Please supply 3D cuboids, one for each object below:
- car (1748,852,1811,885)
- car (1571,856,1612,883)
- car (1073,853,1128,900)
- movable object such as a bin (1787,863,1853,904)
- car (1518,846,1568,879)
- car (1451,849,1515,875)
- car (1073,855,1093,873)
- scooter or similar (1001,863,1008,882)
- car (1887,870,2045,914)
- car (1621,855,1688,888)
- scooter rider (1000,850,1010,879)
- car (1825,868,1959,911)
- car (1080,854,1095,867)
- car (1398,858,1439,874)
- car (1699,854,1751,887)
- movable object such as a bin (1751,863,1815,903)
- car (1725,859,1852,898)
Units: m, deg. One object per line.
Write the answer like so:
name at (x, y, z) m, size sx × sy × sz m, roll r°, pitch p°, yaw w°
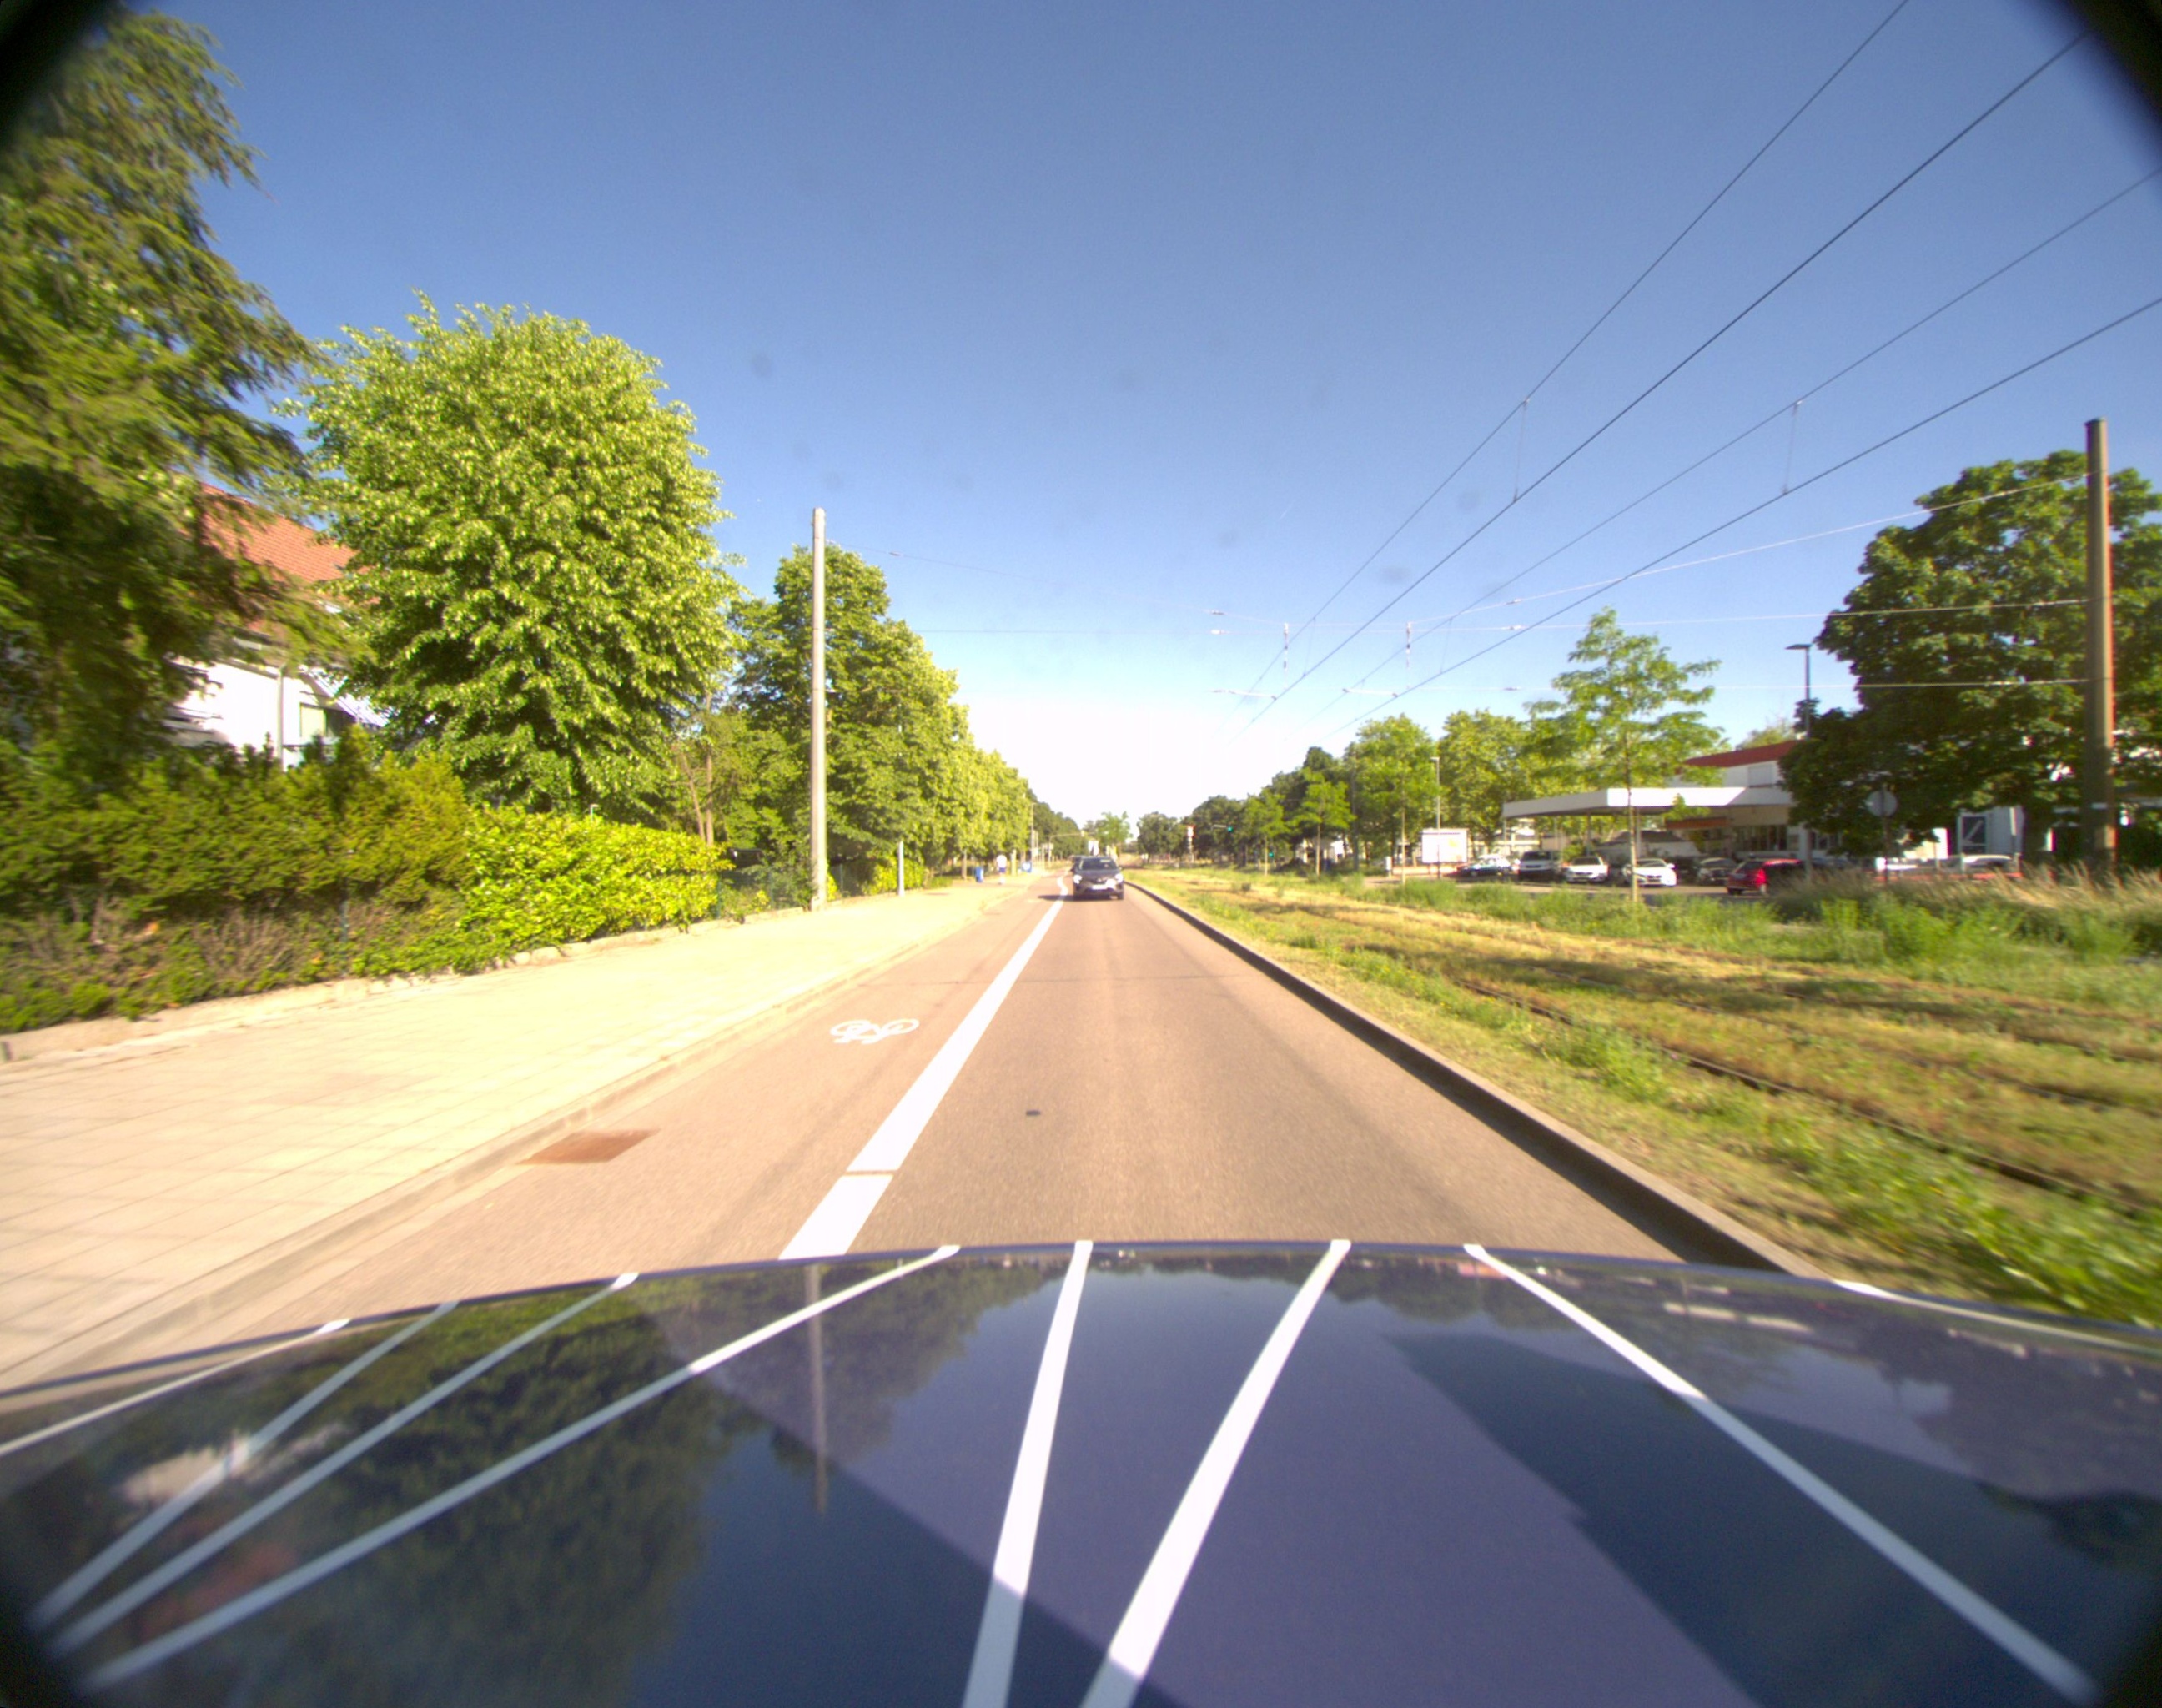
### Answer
car at (35.494, 0.712, 38.732) m, size 2.021 × 1.541 × 4.310 m, roll 1°, pitch 0°, yaw 38°
car at (28.911, 0.849, 42.956) m, size 1.712 × 1.416 × 4.466 m, roll -1°, pitch 0°, yaw 37°
car at (0.658, 0.795, 28.248) m, size 1.867 × 1.614 × 4.000 m, roll 0°, pitch 0°, yaw 0°
movable object such as a bin at (25.991, 1.021, 26.748) m, size 1.227 × 1.356 × 1.121 m, roll 1°, pitch 1°, yaw -2°
car at (28.828, 0.547, 47.377) m, size 1.893 × 1.899 × 4.821 m, roll -1°, pitch -1°, yaw 41°
car at (31.931, 0.611, 60.413) m, size 3.996 × 1.846 × 2.001 m, roll -2°, pitch 0°, yaw 3°
car at (0.196, 1.063, 82.043) m, size 1.998 × 1.823 × 4.000 m, roll -1°, pitch 0°, yaw 2°
scooter or similar at (-4.694, 1.143, 46.614) m, size 0.349 × 1.130 × 1.208 m, roll 1°, pitch 0°, yaw 0°
car at (32.897, 1.392, 28.328) m, size 3.827 × 1.500 × 1.705 m, roll -1°, pitch 0°, yaw 2°
car at (29.478, 0.822, 39.205) m, size 2.022 × 1.499 × 4.898 m, roll 1°, pitch 1°, yaw 29°
scooter rider at (-4.699, 0.669, 46.772) m, size 0.552 × 1.756 × 0.599 m, roll -1°, pitch 0°, yaw 0°
car at (33.170, 1.412, 31.144) m, size 3.754 × 1.624 × 1.705 m, roll -1°, pitch 0°, yaw -3°
car at (1.004, 0.880, 111.174) m, size 1.998 × 1.823 × 4.000 m, roll -1°, pitch 0°, yaw 2°
car at (40.464, 1.442, 91.091) m, size 4.051 × 1.816 × 1.999 m, roll -1°, pitch 1°, yaw -2°
car at (32.190, 0.781, 38.071) m, size 1.844 × 1.499 × 3.999 m, roll 1°, pitch 1°, yaw 38°
movable object such as a bin at (24.643, 1.006, 26.698) m, size 1.227 × 1.361 × 1.121 m, roll 0°, pitch 1°, yaw -2°
car at (28.769, 0.970, 30.956) m, size 3.710 × 1.503 × 1.641 m, roll 1°, pitch 0°, yaw -3°
